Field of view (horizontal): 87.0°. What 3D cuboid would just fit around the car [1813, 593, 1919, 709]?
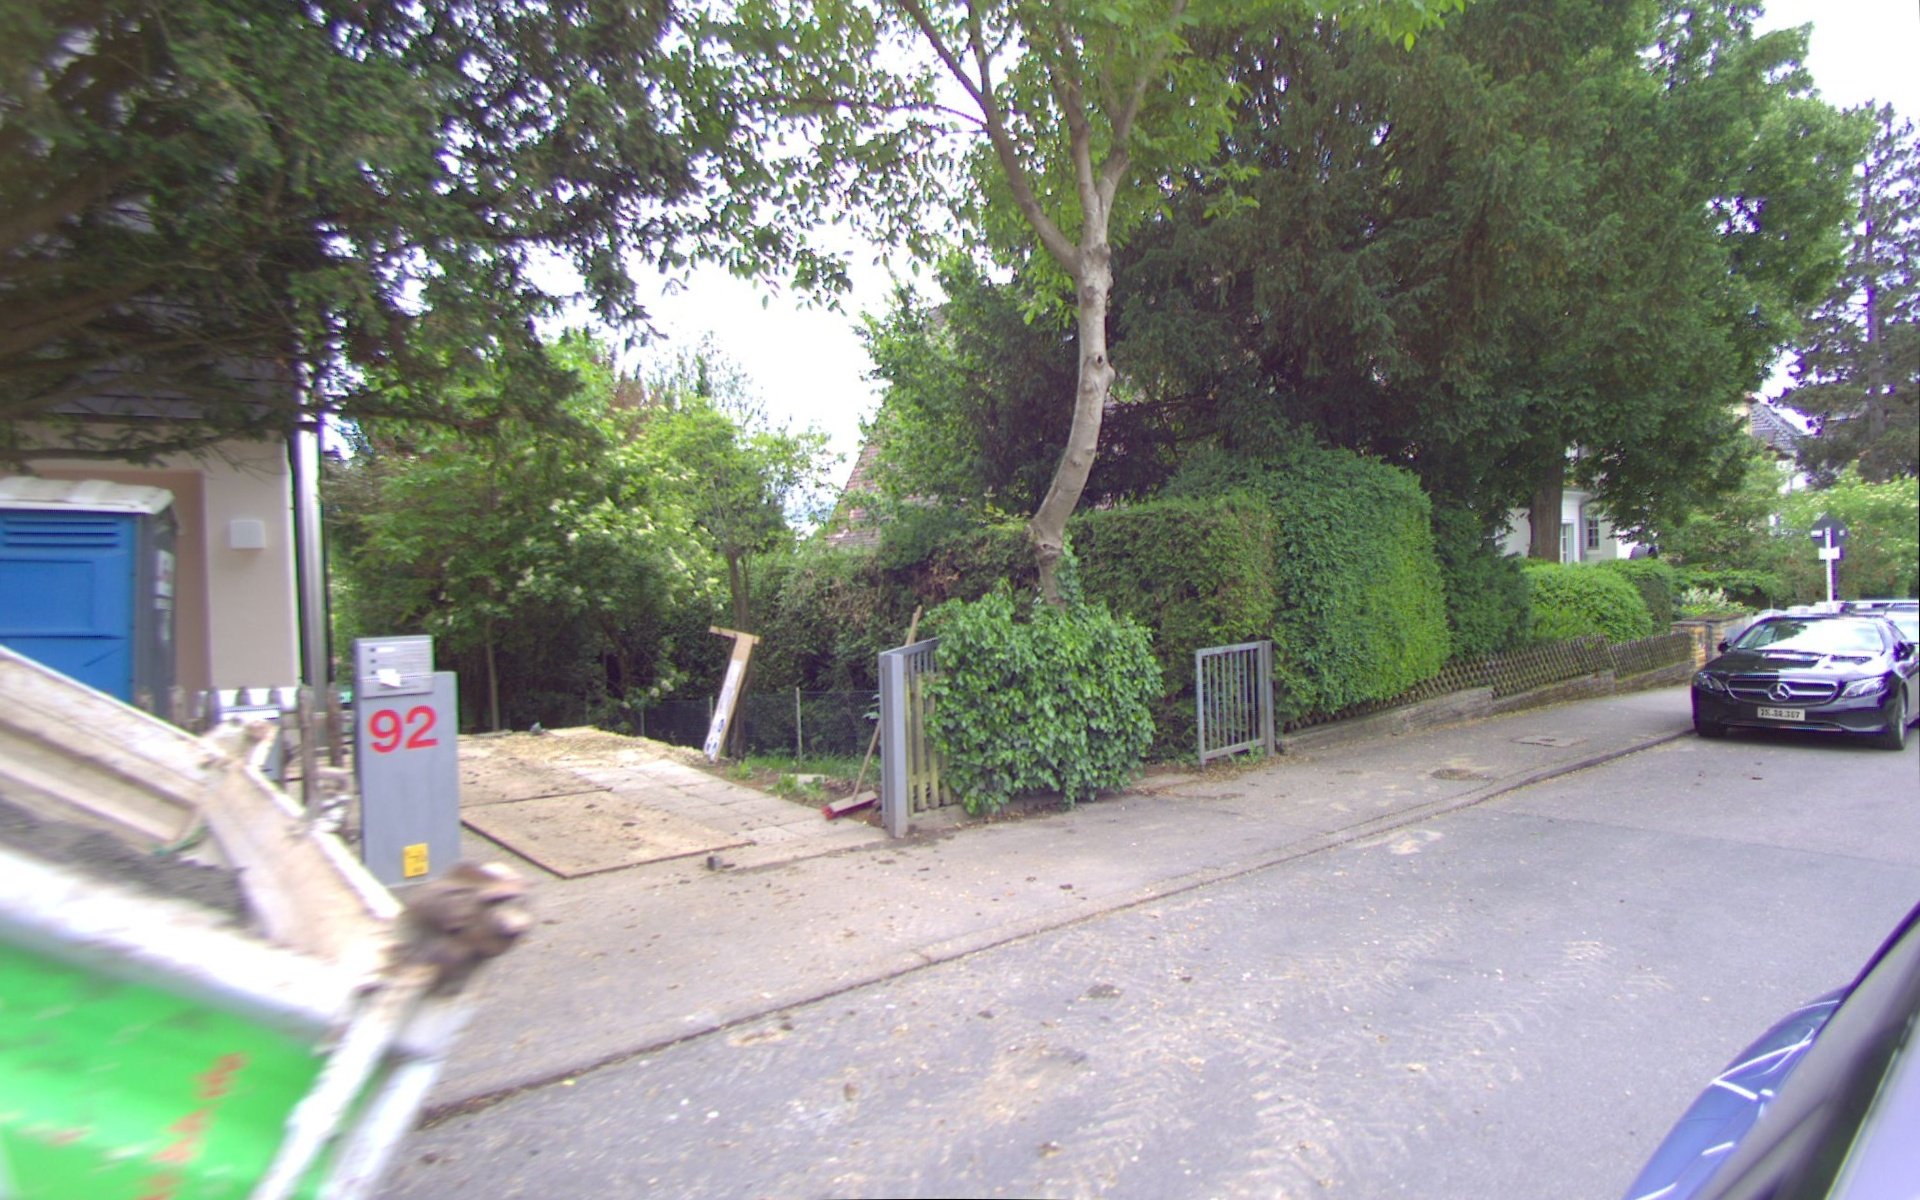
[{"bbox_3d":[14.585,0.692,15.567,4.235,1.590,1.700,0,0,-42],"label":"car"}]

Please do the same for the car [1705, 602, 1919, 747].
[{"bbox_3d":[10.698,0.765,12.263,4.578,1.442,1.655,0,-1,-40],"label":"car"}]

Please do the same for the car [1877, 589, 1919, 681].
[{"bbox_3d":[18.835,0.616,19.243,4.499,1.626,1.758,0,-1,-44],"label":"car"}]
